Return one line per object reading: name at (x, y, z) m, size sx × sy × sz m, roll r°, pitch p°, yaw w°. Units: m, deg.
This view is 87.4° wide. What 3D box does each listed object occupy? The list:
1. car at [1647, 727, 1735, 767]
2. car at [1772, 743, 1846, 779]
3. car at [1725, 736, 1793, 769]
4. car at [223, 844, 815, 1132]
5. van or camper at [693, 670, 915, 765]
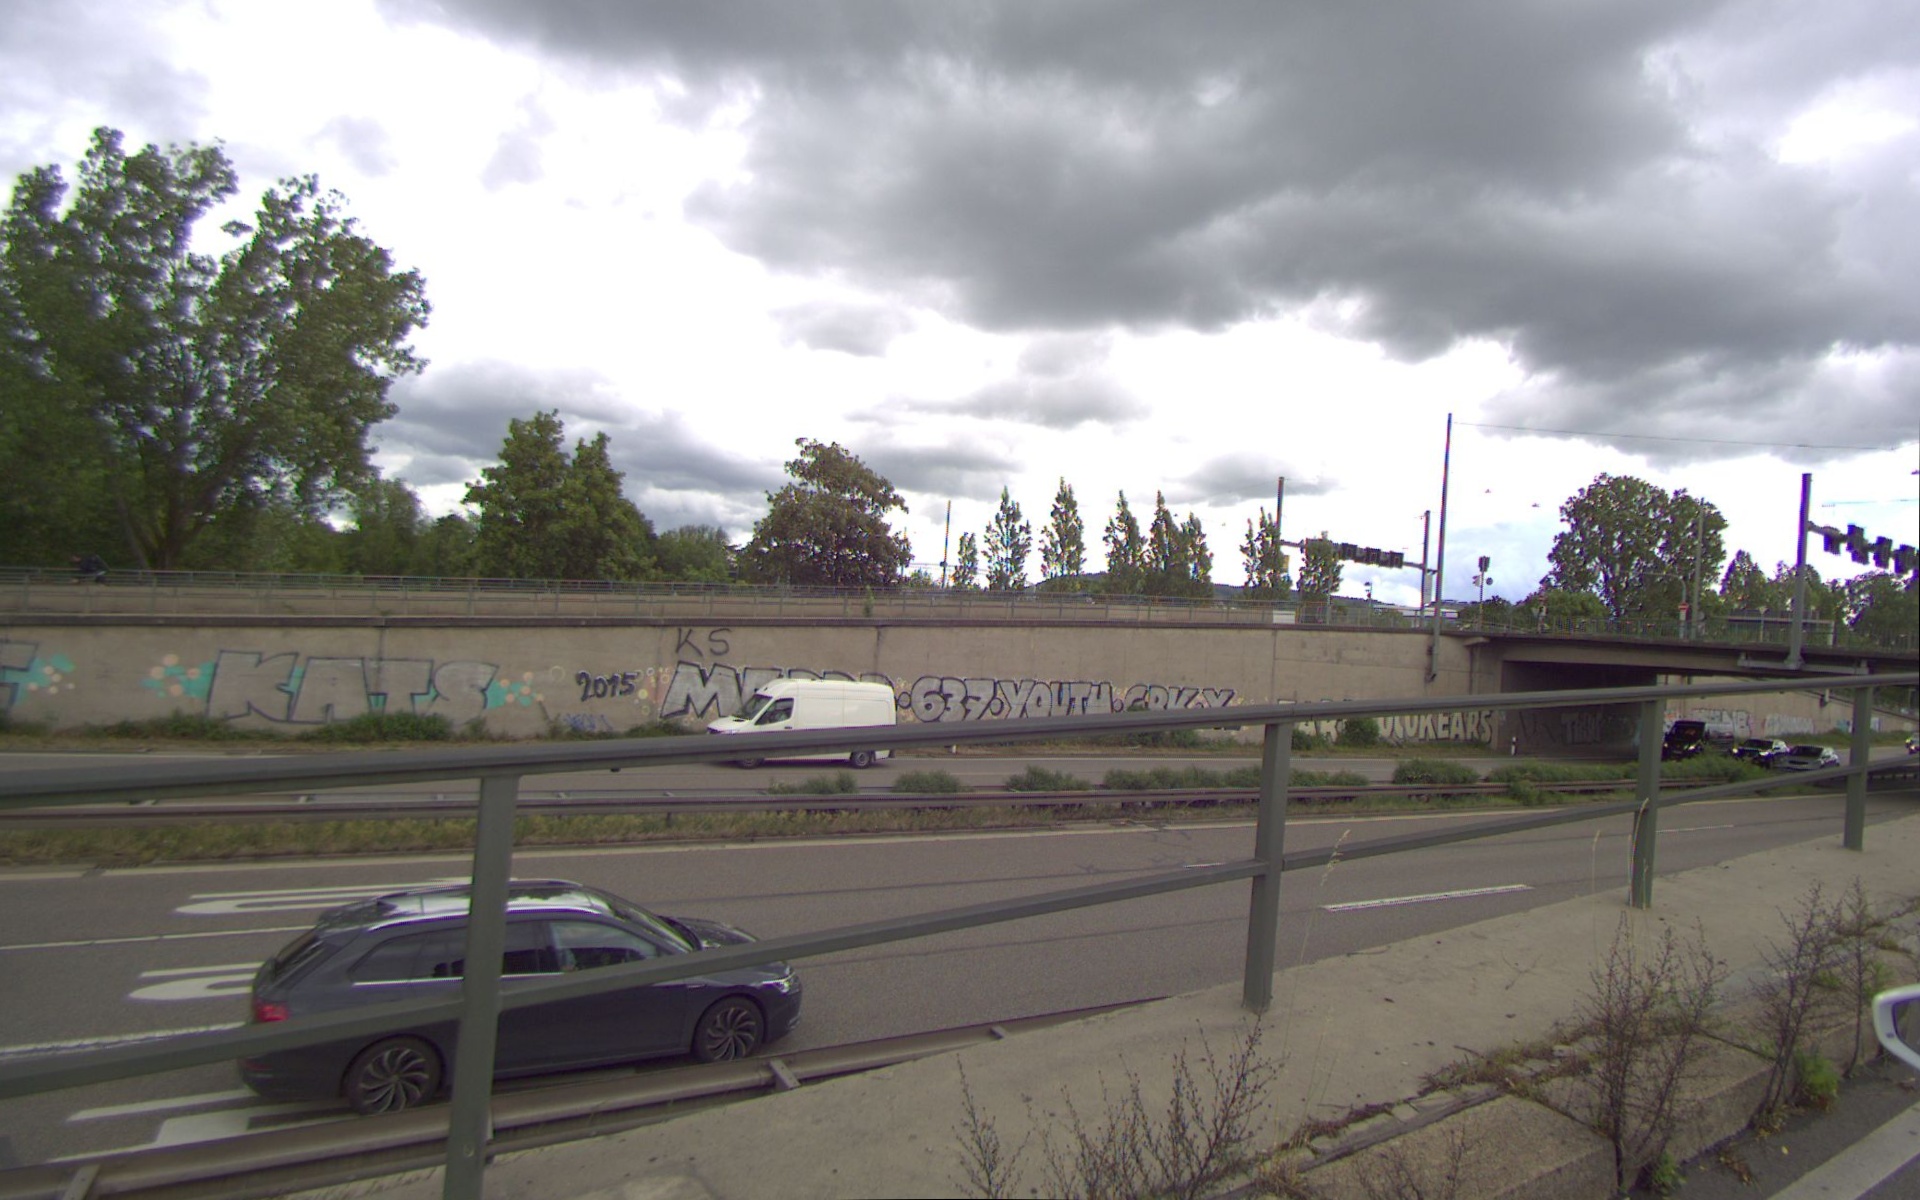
car at (46.601, 9.355, 63.981) m, size 6.114 × 2.183 × 2.279 m, roll 6°, pitch -3°, yaw -31°
car at (47.773, 9.028, 56.487) m, size 3.957 × 1.683 × 1.983 m, roll 6°, pitch -2°, yaw -31°
car at (48.456, 9.239, 60.905) m, size 3.957 × 1.683 × 1.983 m, roll 6°, pitch -2°, yaw -31°
car at (-3.620, 3.191, 8.900) m, size 4.242 × 1.520 × 1.932 m, roll 4°, pitch -3°, yaw -22°
van or camper at (-4.706, 3.649, 30.921) m, size 6.280 × 2.488 × 2.170 m, roll 6°, pitch -2°, yaw -32°
